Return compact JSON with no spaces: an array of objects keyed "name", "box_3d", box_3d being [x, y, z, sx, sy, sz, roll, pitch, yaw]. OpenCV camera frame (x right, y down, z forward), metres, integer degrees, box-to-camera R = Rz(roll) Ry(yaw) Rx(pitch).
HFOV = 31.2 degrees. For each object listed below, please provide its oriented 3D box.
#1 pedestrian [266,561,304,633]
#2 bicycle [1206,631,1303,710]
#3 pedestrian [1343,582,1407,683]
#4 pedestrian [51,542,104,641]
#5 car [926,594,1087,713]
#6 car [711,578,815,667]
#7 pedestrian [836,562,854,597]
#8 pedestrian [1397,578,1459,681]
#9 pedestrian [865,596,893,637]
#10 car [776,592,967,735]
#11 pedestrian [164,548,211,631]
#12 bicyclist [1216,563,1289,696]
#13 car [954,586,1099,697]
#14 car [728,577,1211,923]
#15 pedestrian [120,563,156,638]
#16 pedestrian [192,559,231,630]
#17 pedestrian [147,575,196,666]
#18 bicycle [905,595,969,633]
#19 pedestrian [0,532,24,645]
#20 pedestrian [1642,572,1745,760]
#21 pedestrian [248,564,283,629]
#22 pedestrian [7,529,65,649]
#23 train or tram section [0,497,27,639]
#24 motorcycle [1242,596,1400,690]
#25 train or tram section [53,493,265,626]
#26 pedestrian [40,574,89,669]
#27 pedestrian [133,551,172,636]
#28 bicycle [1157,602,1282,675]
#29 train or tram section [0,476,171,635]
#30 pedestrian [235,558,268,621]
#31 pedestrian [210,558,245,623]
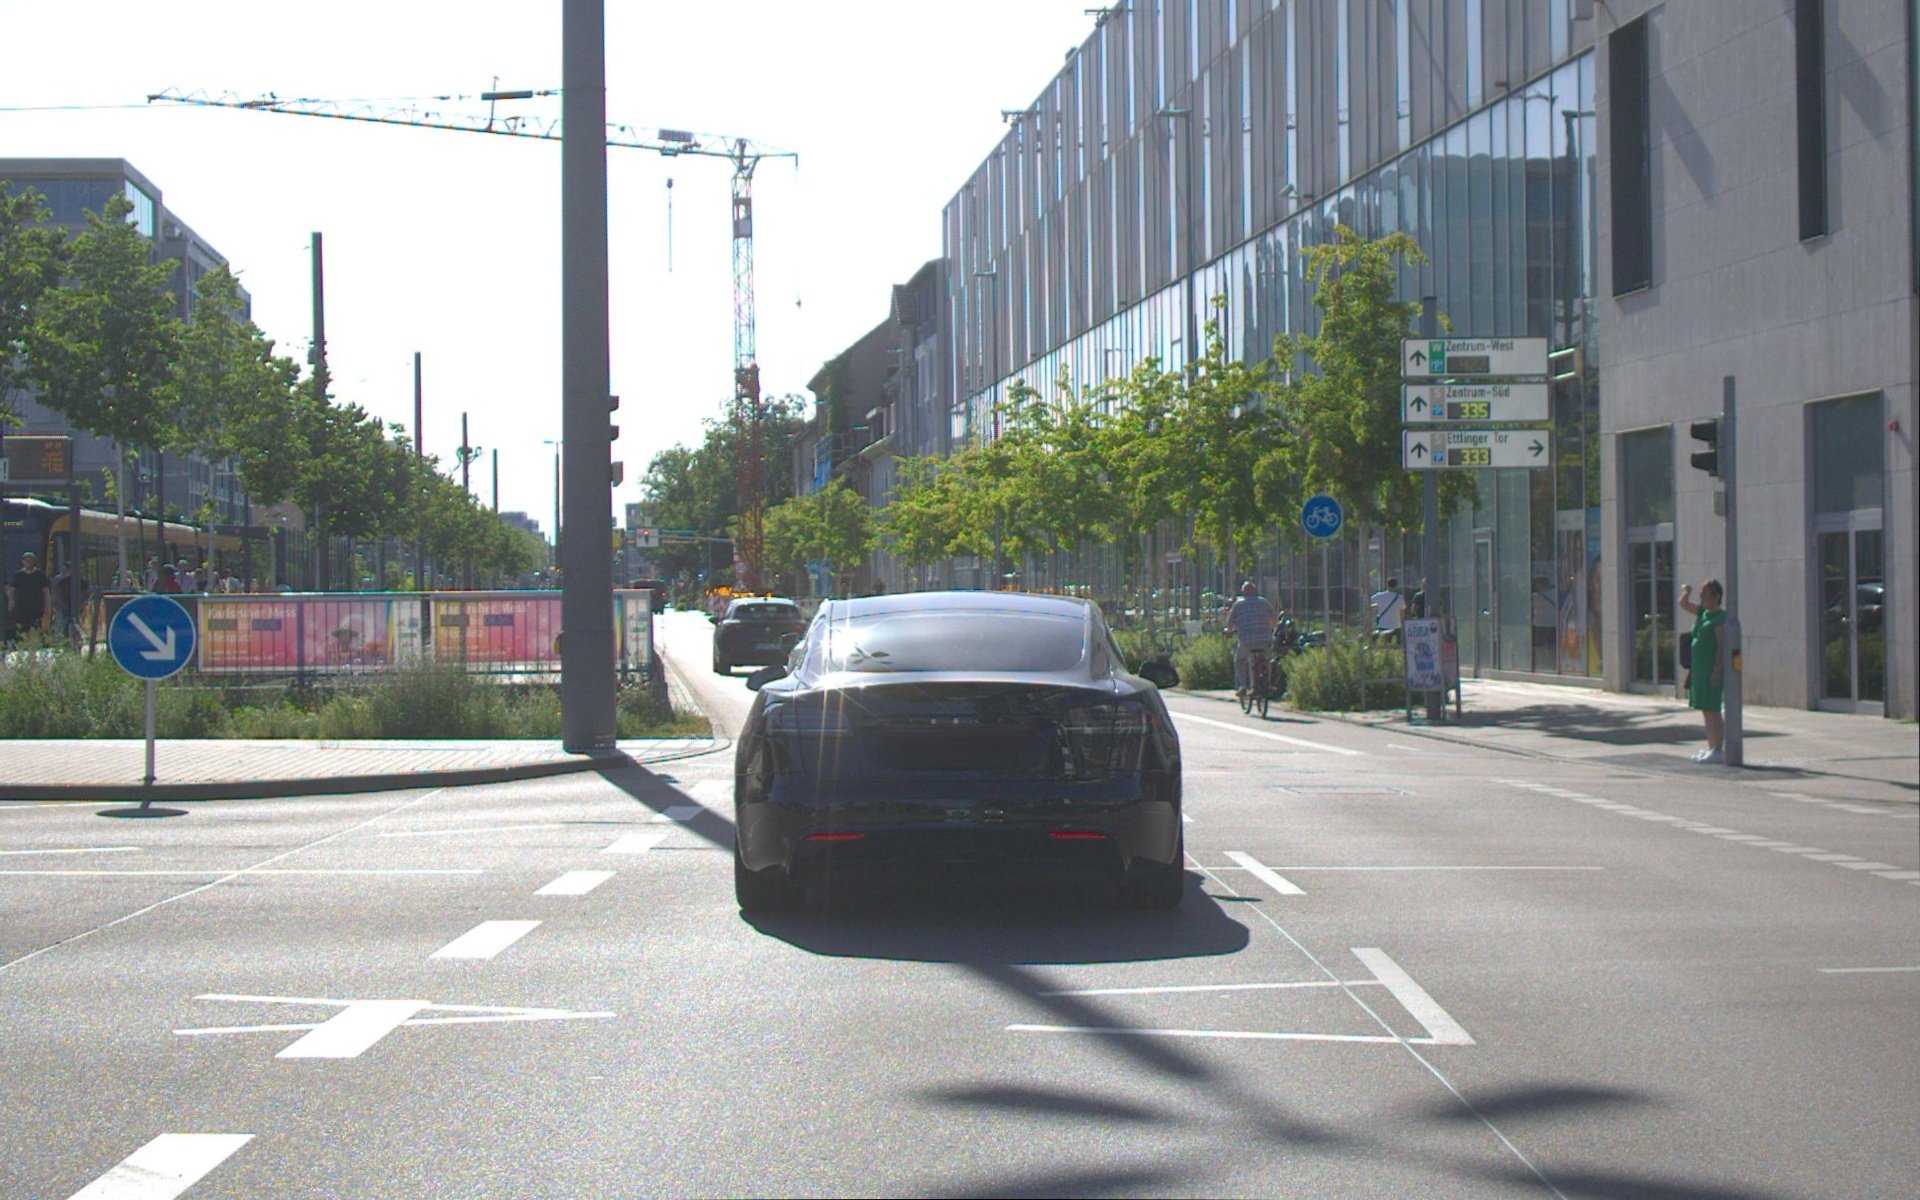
[{"name":"pedestrian","box_3d":[-15.444,-0.071,78.682,0.741,1.623,0.861,0,0,-4]},{"name":"bicycle","box_3d":[3.883,0.915,45.532,0.728,0.980,2.334,1,0,-9]},{"name":"pedestrian","box_3d":[6.827,0.524,56.539,0.820,1.652,0.900,0,0,-9]},{"name":"pedestrian","box_3d":[-16.004,-0.162,62.352,0.790,1.769,0.979,1,1,-8]},{"name":"car","box_3d":[0.563,0.660,44.616,1.716,1.427,4.001,0,1,-5]},{"name":"car","box_3d":[-3.717,0.404,65.238,1.888,1.590,4.000,-1,1,-3]},{"name":"pedestrian","box_3d":[-6.150,-1.102,184.131,0.851,1.857,0.930,-1,0,-7]},{"name":"pedestrian","box_3d":[7.687,0.482,56.525,0.706,1.652,0.900,-2,0,-9]},{"name":"pedestrian","box_3d":[-3.680,0.752,156.386,1.095,1.857,1.523,-1,0,-7]},{"name":"car","box_3d":[-0.954,0.601,34.847,1.716,1.315,4.001,0,1,-5]},{"name":"pedestrian","box_3d":[-17.325,-0.229,77.115,0.886,1.844,1.007,0,0,-5]},{"name":"bicyclist","box_3d":[3.873,0.389,45.516,0.724,1.731,0.998,-1,0,-9]},{"name":"car","box_3d":[0.938,0.575,50.855,1.784,1.541,4.039,0,1,-4]},{"name":"car","box_3d":[-0.100,0.612,16.468,1.999,1.429,4.413,0,0,-4]},{"name":"pedestrian","box_3d":[-16.682,0.004,69.776,0.647,1.507,0.588,1,1,-8]},{"name":"pedestrian","box_3d":[-17.058,-0.127,78.336,0.741,1.623,0.861,0,0,-4]},{"name":"pedestrian","box_3d":[-14.209,0.364,61.952,0.741,1.623,0.861,0,0,-4]},{"name":"bicycle","box_3d":[-0.729,0.452,109.806,1.881,1.147,0.672,-2,0,-15]},{"name":"pedestrian","box_3d":[-15.391,-0.198,54.533,0.874,1.769,1.189,1,1,-8]},{"name":"pedestrian","box_3d":[6.806,0.601,31.921,0.657,1.696,0.698,-3,1,-7]},{"name":"pedestrian","box_3d":[-17.320,-0.088,85.706,0.741,1.623,0.947,0,0,-4]},{"name":"pedestrian","box_3d":[-13.905,-0.173,51.768,0.702,1.769,0.959,1,1,-8]},{"name":"train or tram section","box_3d":[-23.318,-0.726,75.298,2.847,3.310,15.969,1,0,-5]},{"name":"motorcycle","box_3d":[5.342,0.628,50.963,2.189,1.319,0.903,-2,0,-1]},{"name":"train or tram section","box_3d":[-22.365,-1.081,97.414,2.870,3.268,22.147,1,0,-6]},{"name":"pedestrian","box_3d":[-16.936,0.397,65.009,0.761,1.769,0.827,1,1,-7]},{"name":"pedestrian","box_3d":[-17.474,-0.141,74.431,0.671,1.804,1.075,-1,0,-6]},{"name":"bicycle","box_3d":[4.508,0.665,59.790,2.085,1.201,0.950,-2,0,1]},{"name":"train or tram section","box_3d":[-20.592,-0.981,78.809,2.870,3.268,15.187,1,0,-6]},{"name":"pedestrian","box_3d":[-18.428,-0.279,89.443,0.741,1.623,0.861,0,0,-4]},{"name":"pedestrian","box_3d":[-18.397,-0.237,86.349,0.741,1.623,0.861,0,0,-4]}]
